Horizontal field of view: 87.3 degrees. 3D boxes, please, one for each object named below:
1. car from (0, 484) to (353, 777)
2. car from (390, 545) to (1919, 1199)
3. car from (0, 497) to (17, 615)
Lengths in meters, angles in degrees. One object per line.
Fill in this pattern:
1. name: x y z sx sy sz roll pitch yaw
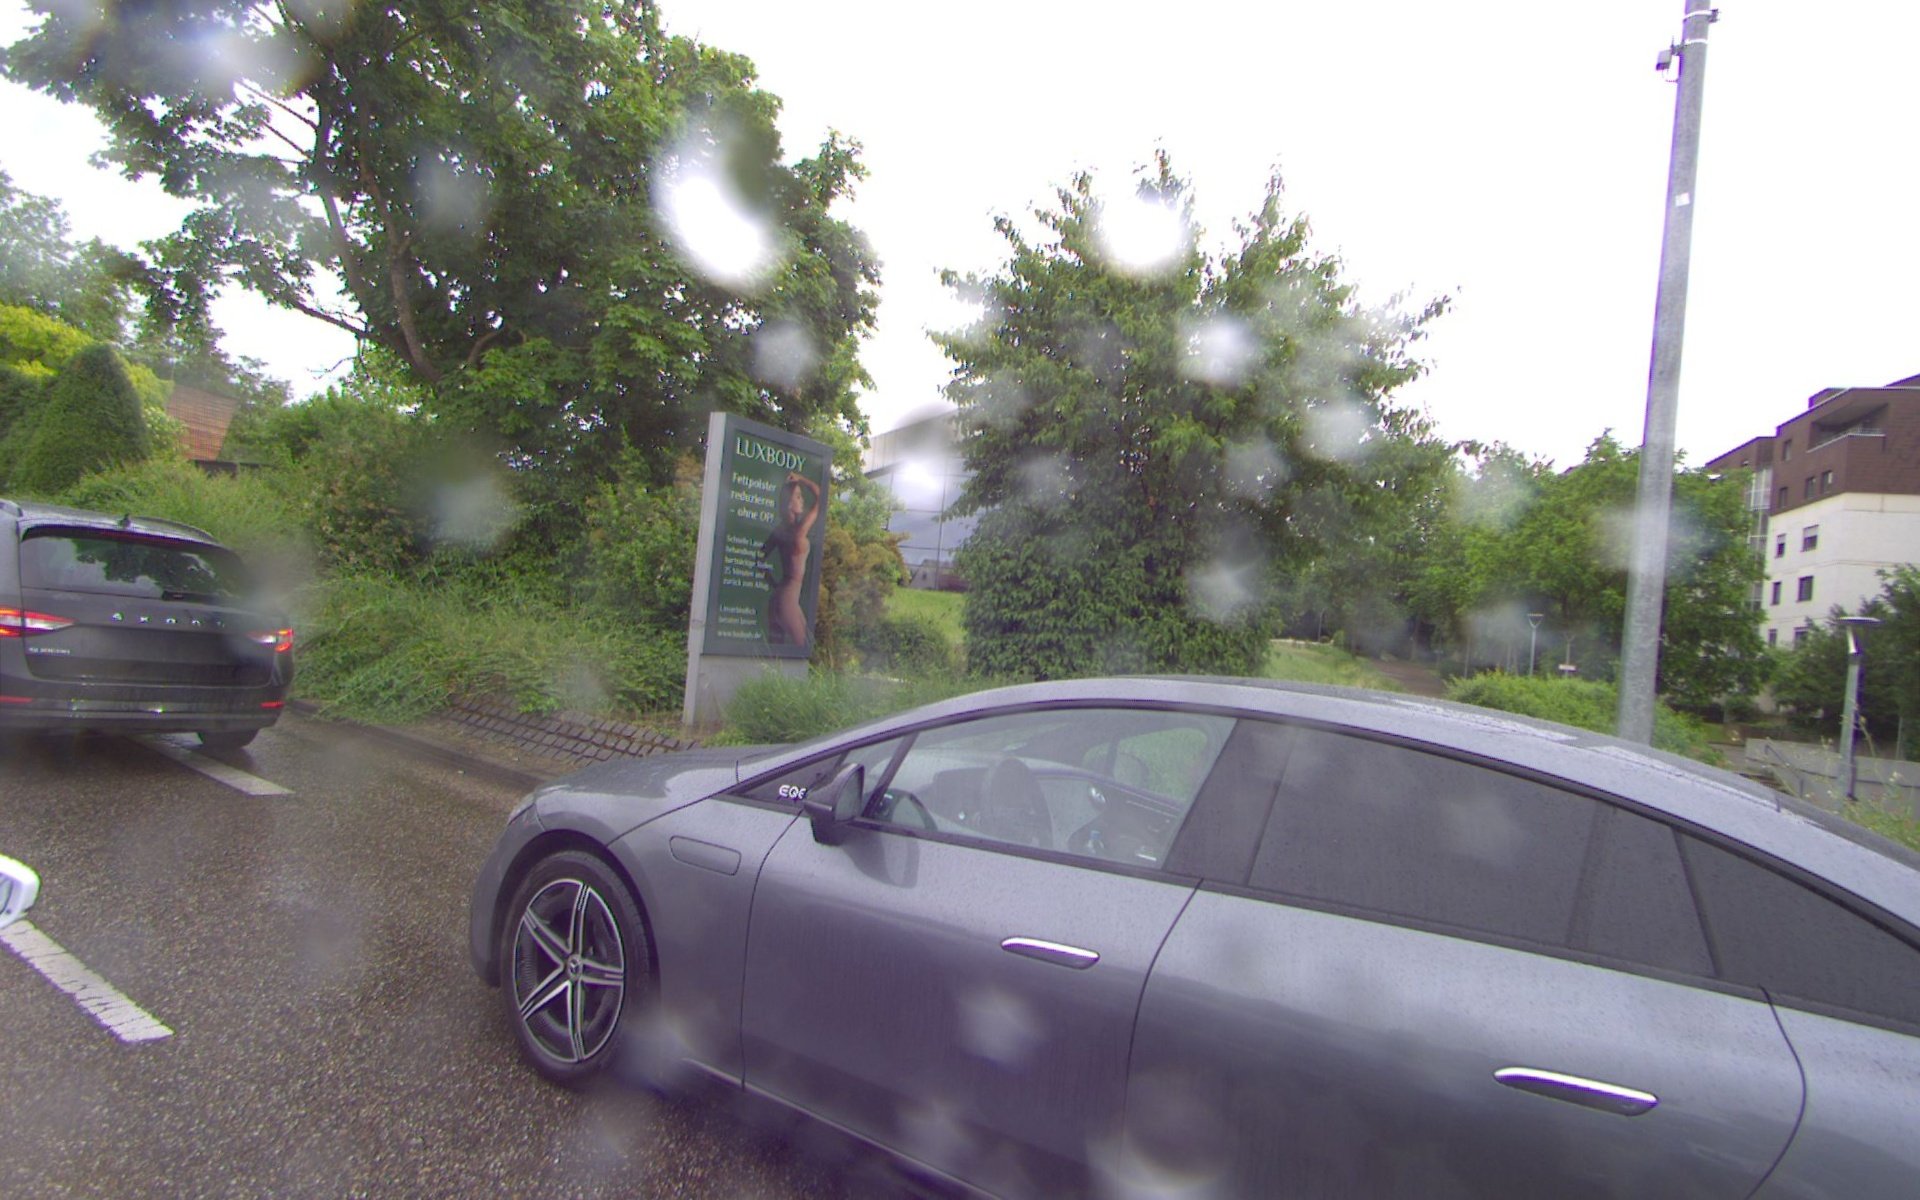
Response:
1. car: -6.268 0.024 6.865 4.279 1.483 1.841 7 -2 33
2. car: 0.675 0.904 2.910 4.728 1.483 1.842 7 -2 31
3. car: -12.249 -0.644 10.892 4.048 1.483 1.842 7 -2 31
